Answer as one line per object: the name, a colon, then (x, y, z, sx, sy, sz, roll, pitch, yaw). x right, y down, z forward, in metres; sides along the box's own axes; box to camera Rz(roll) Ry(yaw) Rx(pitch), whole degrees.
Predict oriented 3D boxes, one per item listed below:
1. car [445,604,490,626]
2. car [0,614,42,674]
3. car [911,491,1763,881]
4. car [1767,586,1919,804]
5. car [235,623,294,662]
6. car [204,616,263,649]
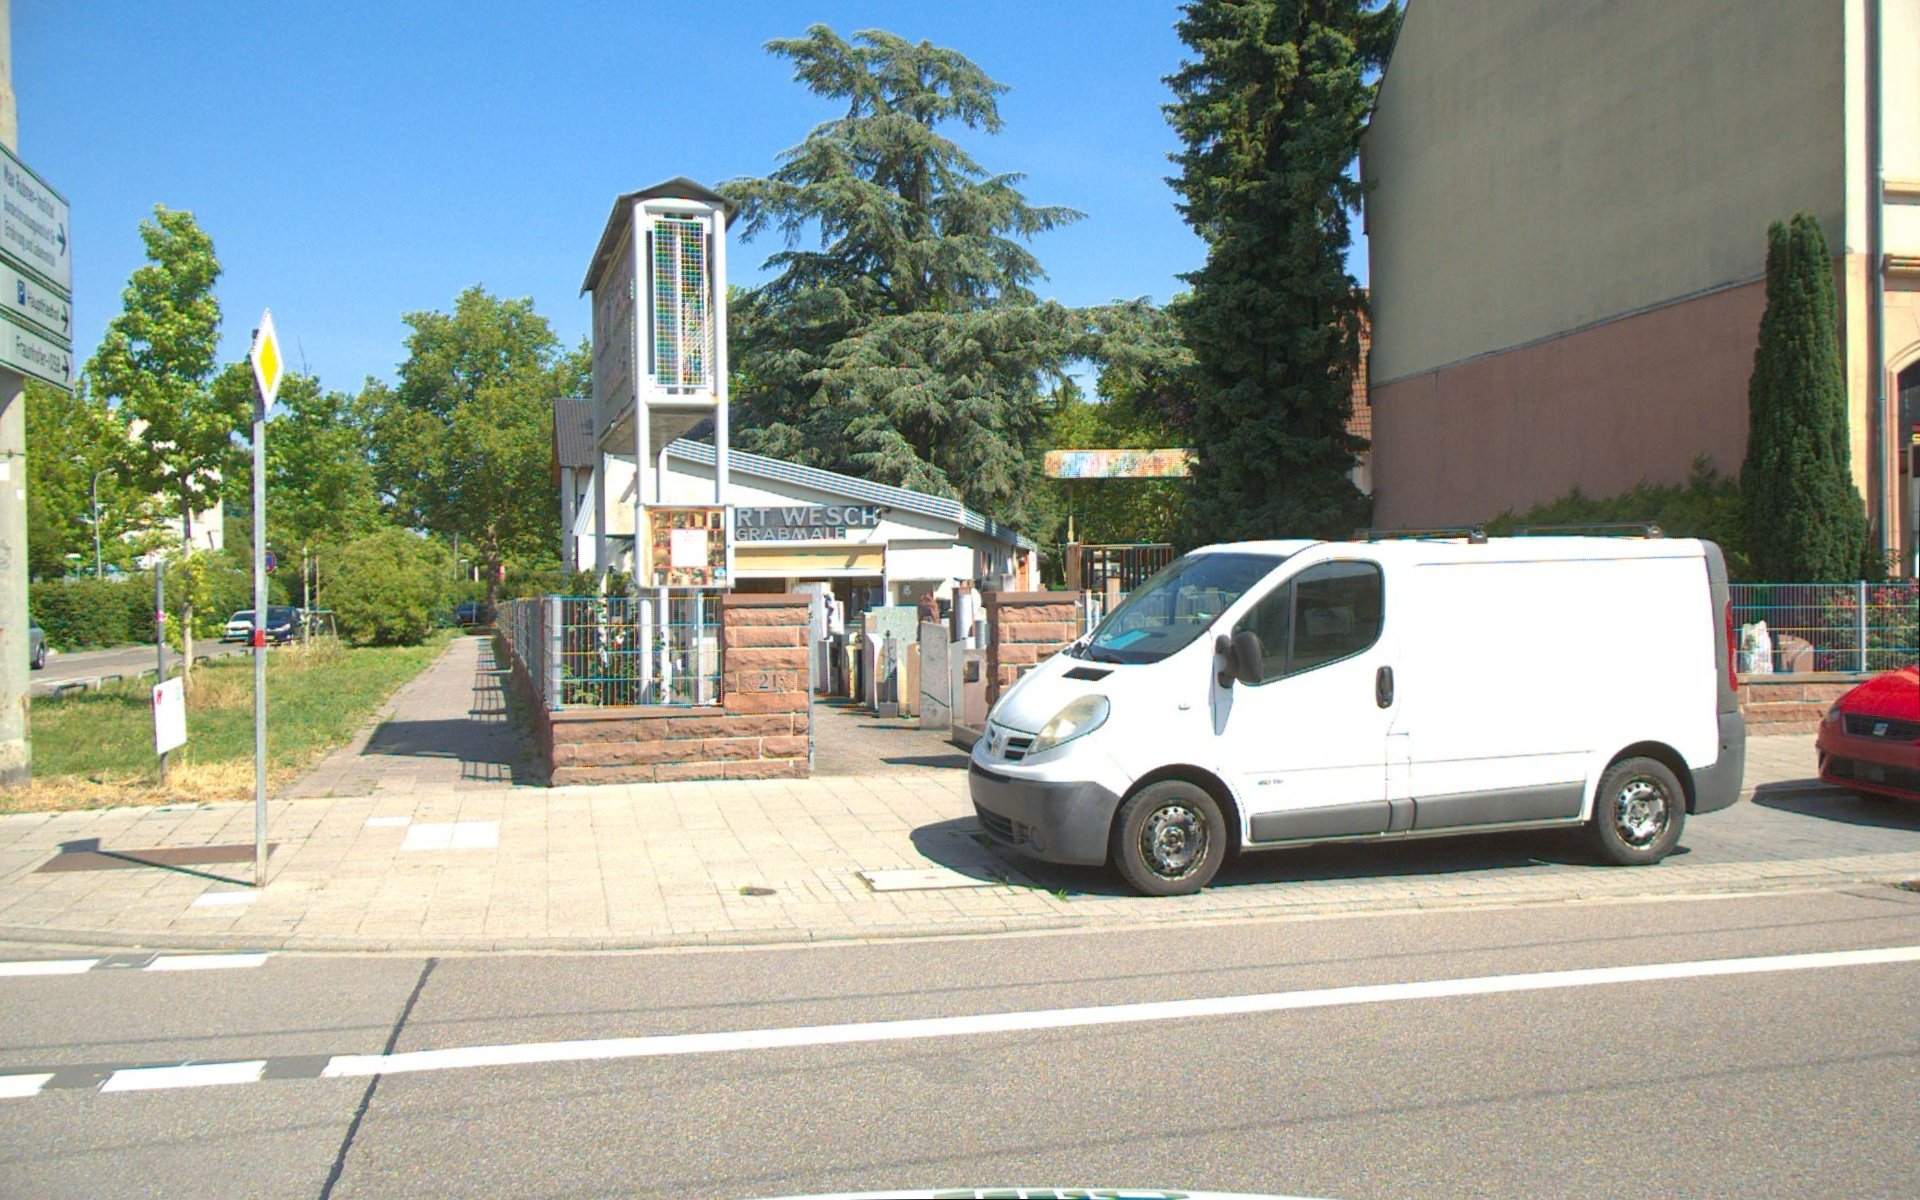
car: (-33.844, 1.034, 113.759, 1.890, 1.475, 3.828, -1, 0, 0)
car: (-23.070, 1.019, 38.980, 1.781, 1.345, 3.809, -1, 0, -18)
car: (2.275, 0.404, 10.357, 4.812, 2.049, 2.082, -1, 1, -16)
car: (8.049, 0.598, 11.894, 3.924, 1.431, 1.718, -1, 0, -17)
car: (-28.321, 1.691, 67.442, 1.899, 1.475, 3.809, -1, 0, -18)
car: (-34.056, 1.488, 77.642, 1.897, 1.475, 3.814, -1, 0, -14)
